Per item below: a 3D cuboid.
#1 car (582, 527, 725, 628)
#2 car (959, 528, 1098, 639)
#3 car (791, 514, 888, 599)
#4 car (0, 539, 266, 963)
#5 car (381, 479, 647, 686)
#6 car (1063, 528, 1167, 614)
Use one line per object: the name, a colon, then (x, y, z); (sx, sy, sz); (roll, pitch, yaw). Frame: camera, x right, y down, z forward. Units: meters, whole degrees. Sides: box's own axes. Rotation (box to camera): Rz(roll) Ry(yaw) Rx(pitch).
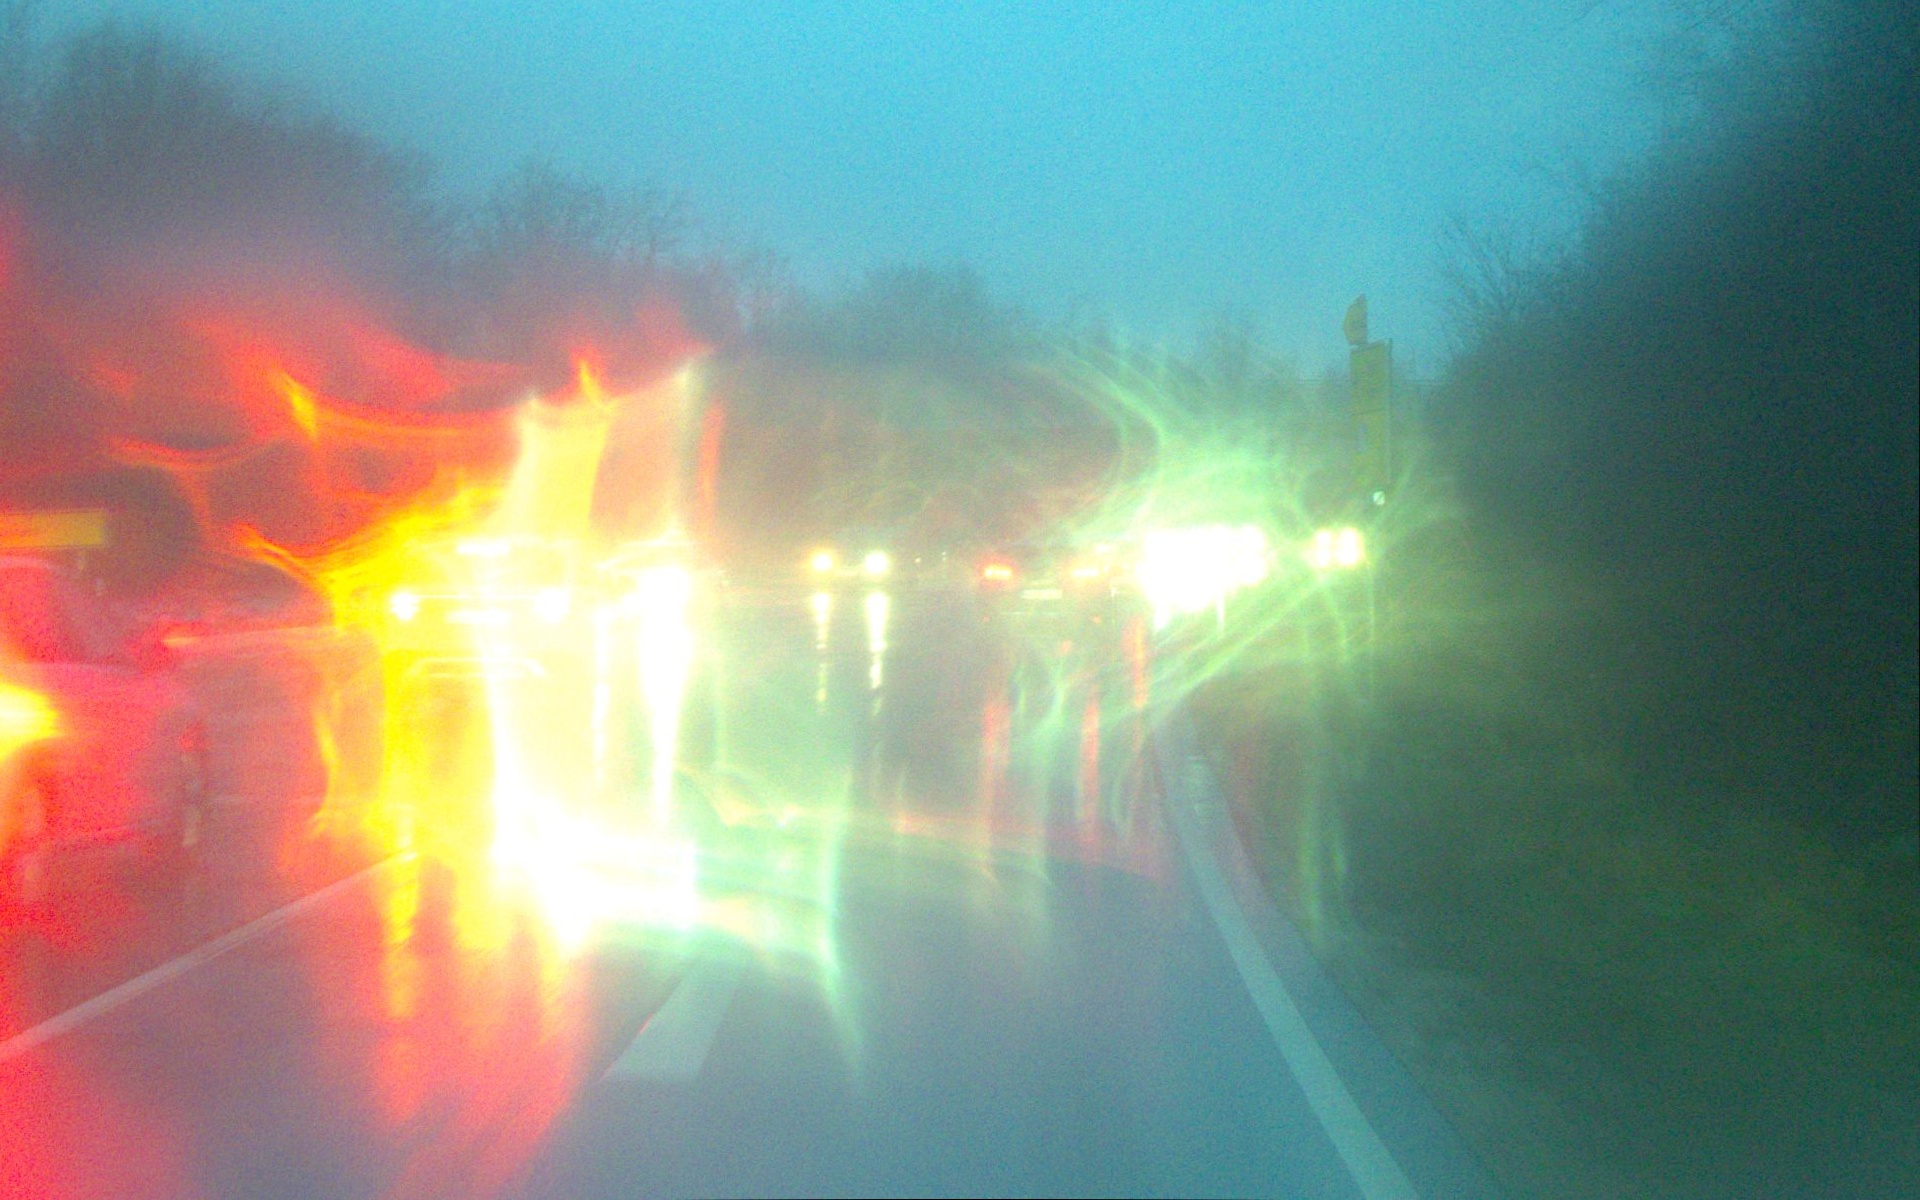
car: (-5.205, -0.411, 58.927); (1.823, 1.611, 4.573); (2, 1, 2)
car: (0.947, -0.248, 45.540); (1.679, 1.385, 4.098); (1, 1, 3)
car: (-2.954, -1.082, 85.411); (1.838, 1.963, 4.357); (3, 1, 5)
car: (-4.466, 0.503, 14.657); (2.005, 1.550, 4.517); (2, 1, 1)
car: (-3.795, -0.177, 29.906); (1.713, 1.621, 4.218); (2, 1, 0)
car: (3.144, -0.604, 69.157); (1.679, 1.669, 4.097); (1, 1, 8)
